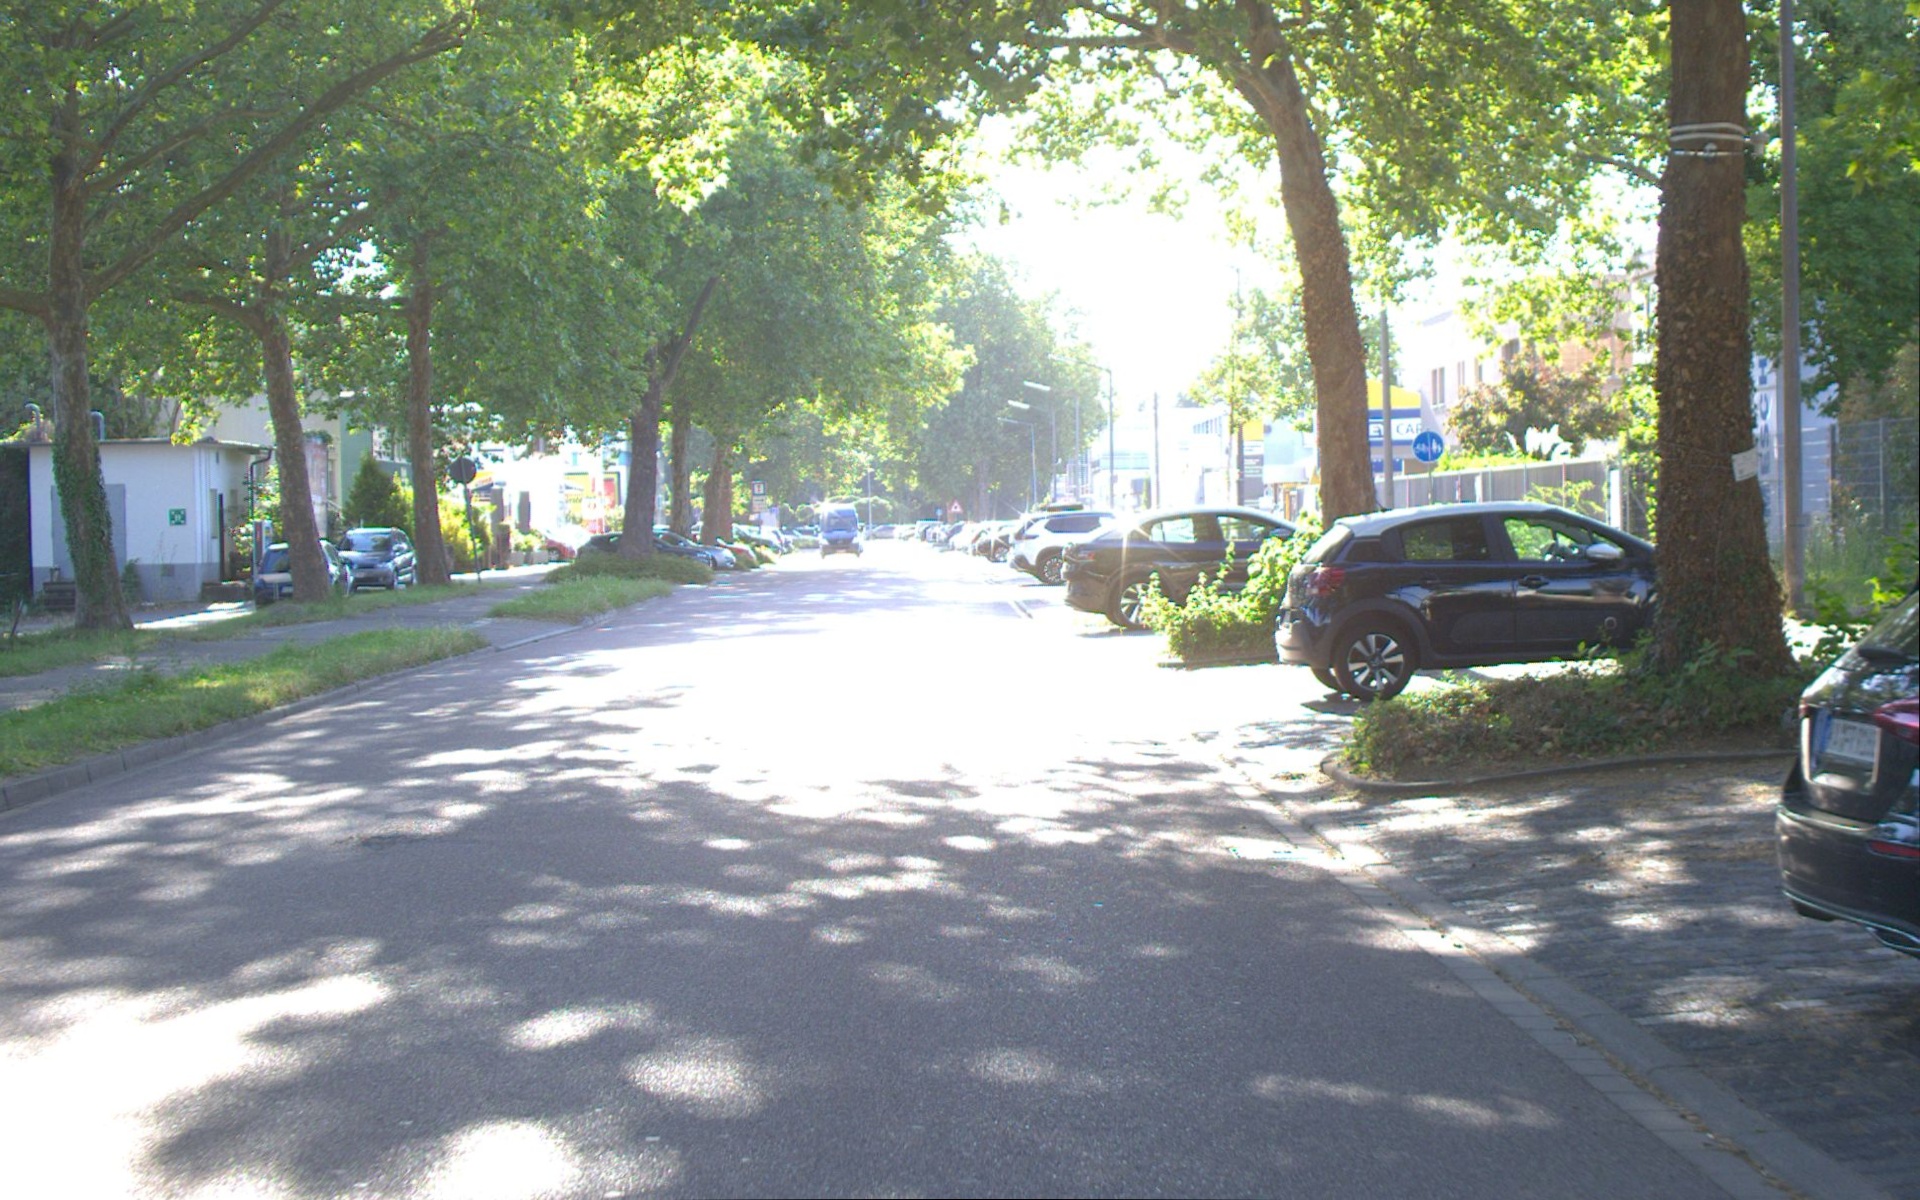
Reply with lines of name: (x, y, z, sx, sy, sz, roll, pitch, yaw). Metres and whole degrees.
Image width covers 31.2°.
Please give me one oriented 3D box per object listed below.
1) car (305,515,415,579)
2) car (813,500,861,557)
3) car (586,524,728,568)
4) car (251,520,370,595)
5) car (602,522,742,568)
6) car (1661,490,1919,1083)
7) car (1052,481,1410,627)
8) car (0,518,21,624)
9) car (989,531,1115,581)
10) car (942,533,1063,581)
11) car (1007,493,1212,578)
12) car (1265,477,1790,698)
car: (-15.262, -1.345, 87.624, 1.993, 1.570, 4.273, 1, 1, 1)
car: (-5.960, -3.493, 167.244, 2.127, 2.650, 7.002, -1, 2, -1)
car: (-10.152, -1.808, 115.377, 4.599, 1.417, 2.000, 0, 2, -1)
car: (-13.624, -0.907, 72.336, 1.993, 1.365, 3.921, -5, 1, -5)
car: (-9.143, -1.752, 109.430, 4.353, 1.417, 2.000, 0, 2, -3)
car: (4.385, 0.308, 9.738, 4.283, 1.481, 1.861, -4, 1, -2)
car: (3.679, -0.635, 47.149, 4.569, 1.709, 1.944, -3, 1, -4)
car: (-13.863, -0.314, 41.441, 4.472, 1.301, 1.999, -2, 2, -42)
car: (3.465, -1.665, 129.351, 4.601, 1.574, 2.000, -4, 1, 1)
car: (1.644, -1.680, 134.498, 4.600, 1.607, 2.000, -4, 1, -1)
car: (3.526, -1.523, 81.674, 4.624, 1.706, 2.000, -4, 1, -2)
car: (4.508, -0.113, 27.700, 3.784, 1.481, 1.861, -4, 1, -2)
